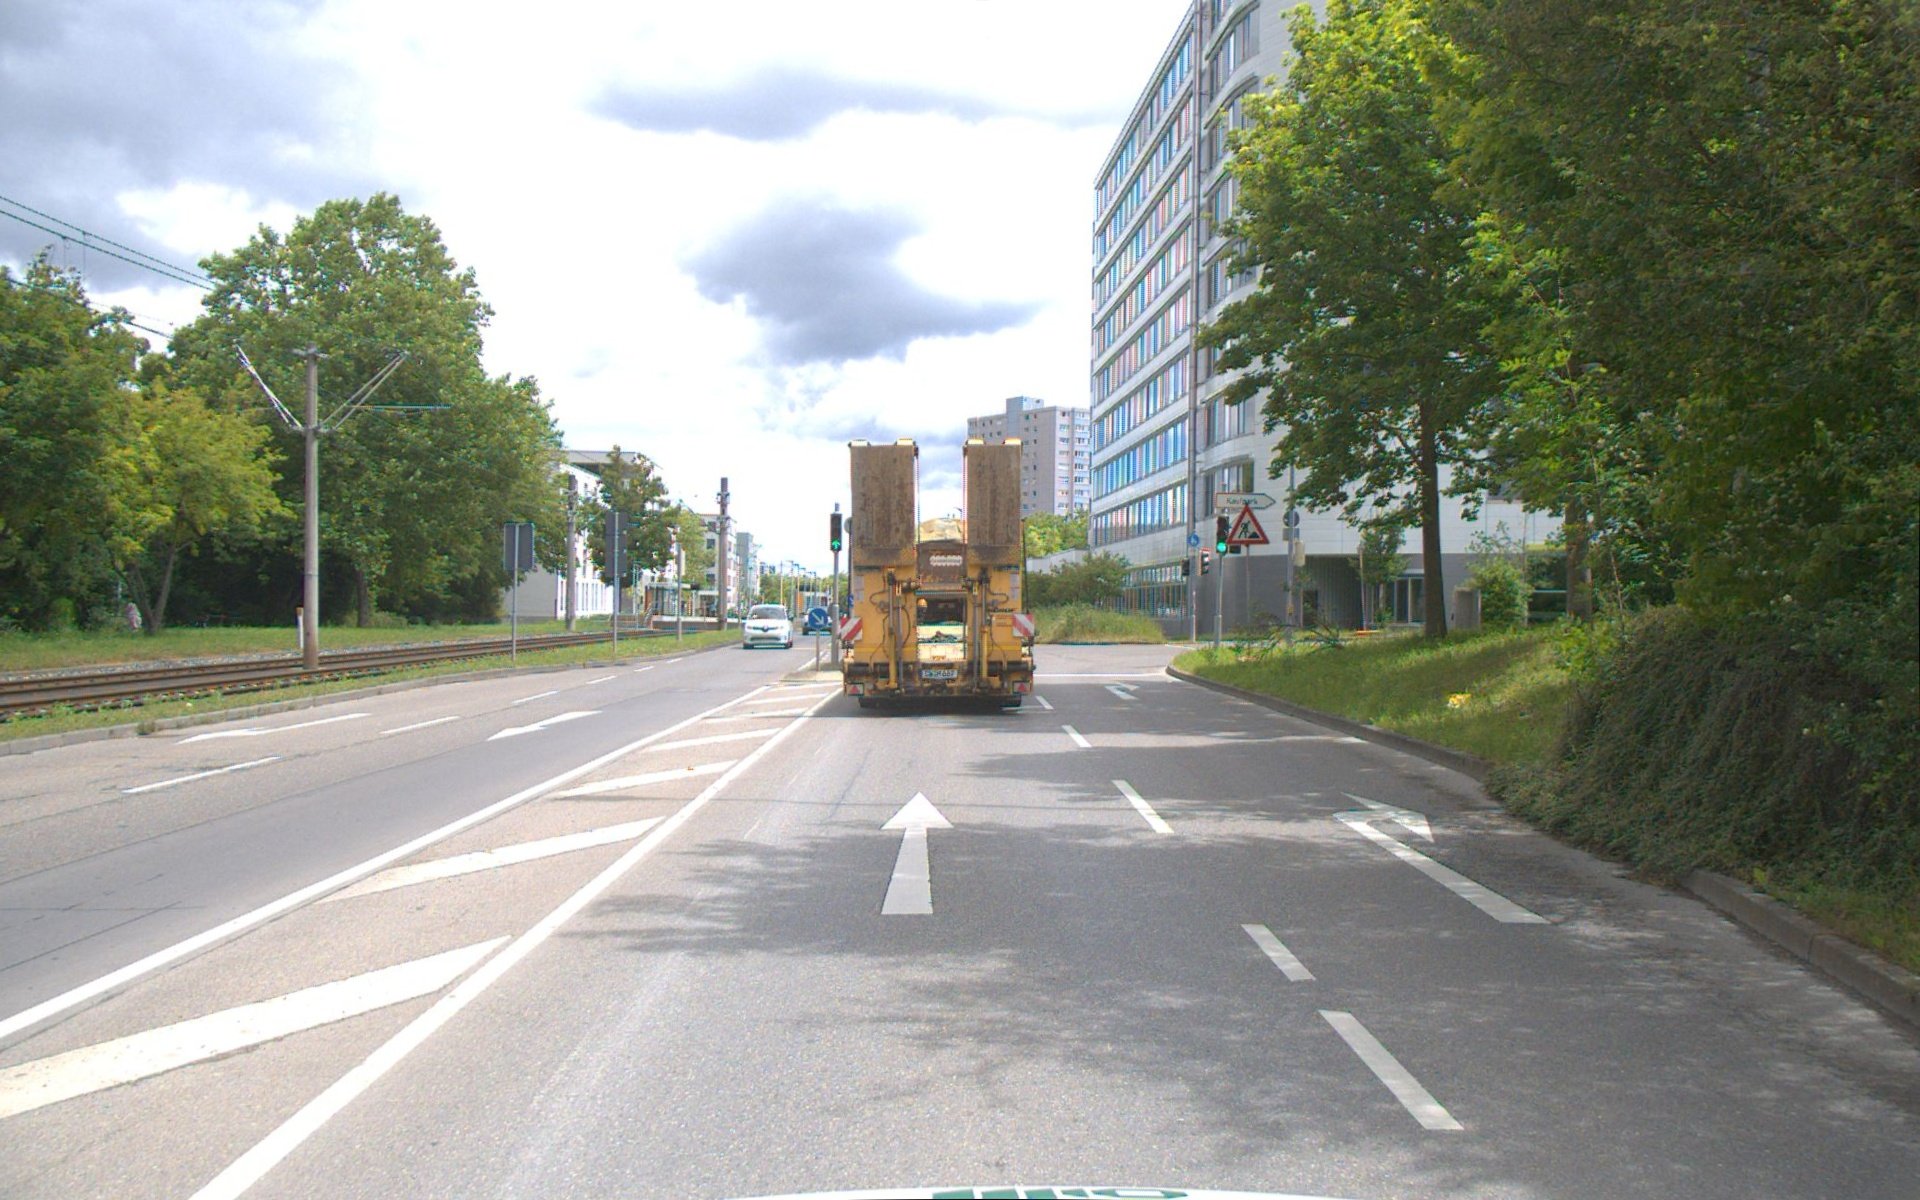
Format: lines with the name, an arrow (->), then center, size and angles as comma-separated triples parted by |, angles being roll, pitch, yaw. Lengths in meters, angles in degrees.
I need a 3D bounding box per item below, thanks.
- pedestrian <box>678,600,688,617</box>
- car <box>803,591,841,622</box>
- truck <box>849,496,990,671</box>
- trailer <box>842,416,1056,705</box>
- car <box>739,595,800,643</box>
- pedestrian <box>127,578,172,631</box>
pedestrian -> -24.432, 0.756, 145.857 | 0.726, 1.558, 0.547 | 1, -1, 0
car -> -7.952, 0.363, 95.420 | 1.822, 1.638, 4.608 | 0, 1, 0
truck -> -0.956, -0.248, 36.339 | 2.698, 3.371, 8.346 | 1, -1, -2
trailer -> -0.442, -0.404, 26.581 | 2.675, 3.621, 11.245 | 1, -1, -3
car -> -6.801, 0.703, 59.381 | 1.693, 1.641, 4.262 | 1, -1, 0
pedestrian -> -30.887, 0.172, 63.051 | 1.013, 1.967, 1.363 | 1, -1, -1
